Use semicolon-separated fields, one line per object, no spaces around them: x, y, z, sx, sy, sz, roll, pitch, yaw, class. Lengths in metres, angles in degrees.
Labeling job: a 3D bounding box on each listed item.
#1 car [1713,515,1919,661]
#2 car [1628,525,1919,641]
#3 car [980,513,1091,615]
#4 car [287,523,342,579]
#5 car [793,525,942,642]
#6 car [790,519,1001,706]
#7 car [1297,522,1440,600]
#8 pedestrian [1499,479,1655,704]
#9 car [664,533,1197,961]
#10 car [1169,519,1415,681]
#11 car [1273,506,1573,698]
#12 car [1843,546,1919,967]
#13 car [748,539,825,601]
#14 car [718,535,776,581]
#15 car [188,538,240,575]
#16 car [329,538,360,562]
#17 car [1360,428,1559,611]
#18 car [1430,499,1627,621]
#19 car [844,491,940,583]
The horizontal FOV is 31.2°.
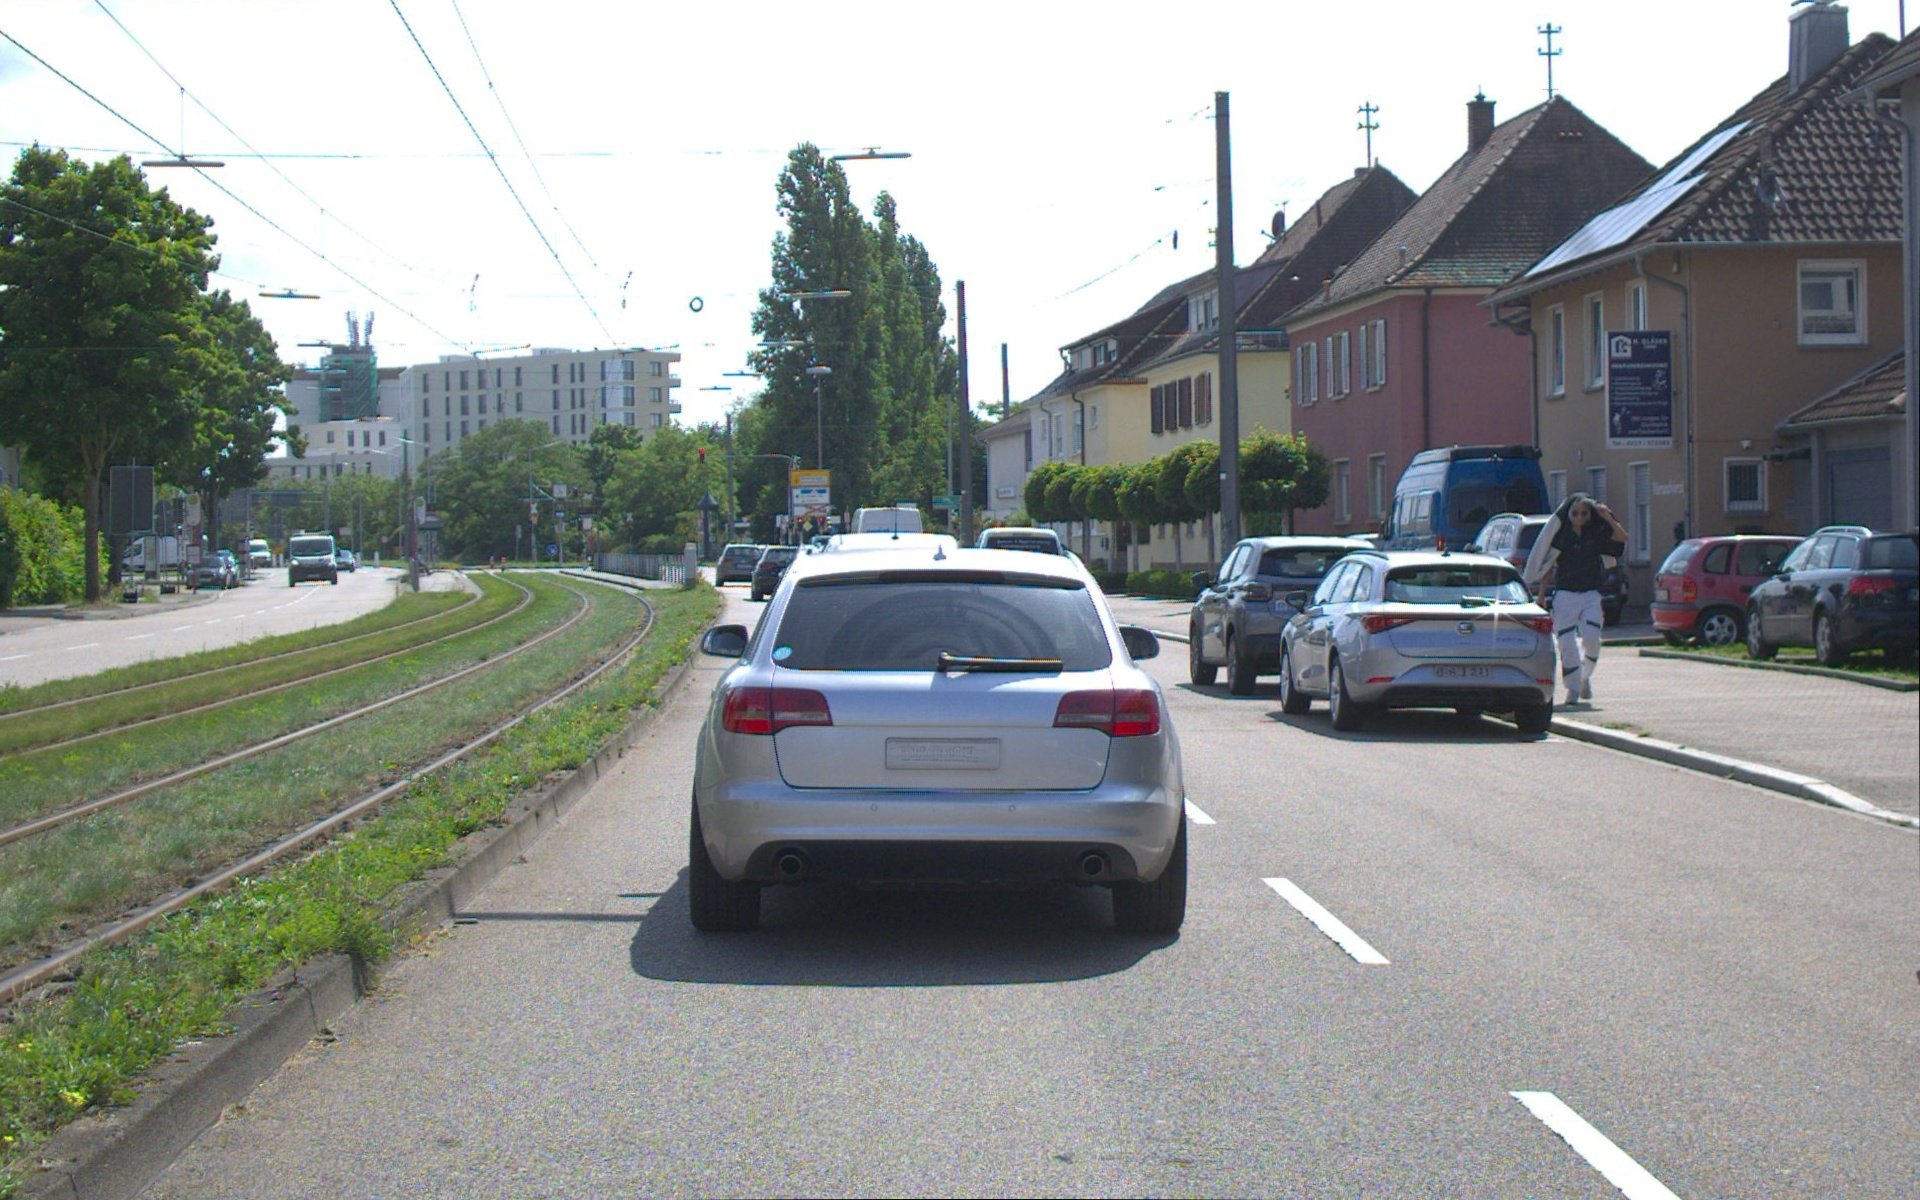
9.511;-0.175;36.313;1.798;1.419;4.858;-1;1;-3;car
10.220;-0.211;42.138;3.648;1.375;1.727;0;0;-5;car
1.328;-0.658;61.190;1.885;1.725;4.094;-1;1;1;car
-28.372;-2.129;151.057;2.196;2.364;5.334;-2;1;-12;car
-1.241;-0.251;45.872;1.885;1.461;4.095;-1;1;-2;car
-0.659;0.074;31.859;1.787;1.571;4.095;2;1;-3;car
7.734;-0.733;65.443;1.648;1.404;4.351;-1;1;-7;car
5.459;-0.077;30.488;1.112;1.939;1.092;-1;0;-2;pedestrian
-0.120;0.476;14.289;1.854;1.487;4.536;0;1;0;car
3.375;-0.019;35.688;1.807;1.554;4.254;1;1;-5;car
3.764;-0.009;28.704;1.814;1.449;4.643;1;1;0;car
4.291;0.594;10.220;1.900;1.439;5.058;1;1;-1;car
-4.437;-0.770;88.509;1.885;1.525;4.095;1;1;-2;car
-7.345;-1.456;118.824;1.885;1.525;4.095;1;1;-2;car
-32.224;-1.881;148.541;1.786;1.578;3.931;0;1;-7;car
-40.388;-3.284;225.592;1.896;1.536;3.730;1;1;-12;car
8.417;-1.323;58.561;2.151;2.920;6.245;1;0;-3;car
8.584;-0.636;52.321;1.836;1.705;4.865;-2;1;-4;car
-1.978;-1.817;98.564;2.040;2.549;5.233;0;1;-9;car
